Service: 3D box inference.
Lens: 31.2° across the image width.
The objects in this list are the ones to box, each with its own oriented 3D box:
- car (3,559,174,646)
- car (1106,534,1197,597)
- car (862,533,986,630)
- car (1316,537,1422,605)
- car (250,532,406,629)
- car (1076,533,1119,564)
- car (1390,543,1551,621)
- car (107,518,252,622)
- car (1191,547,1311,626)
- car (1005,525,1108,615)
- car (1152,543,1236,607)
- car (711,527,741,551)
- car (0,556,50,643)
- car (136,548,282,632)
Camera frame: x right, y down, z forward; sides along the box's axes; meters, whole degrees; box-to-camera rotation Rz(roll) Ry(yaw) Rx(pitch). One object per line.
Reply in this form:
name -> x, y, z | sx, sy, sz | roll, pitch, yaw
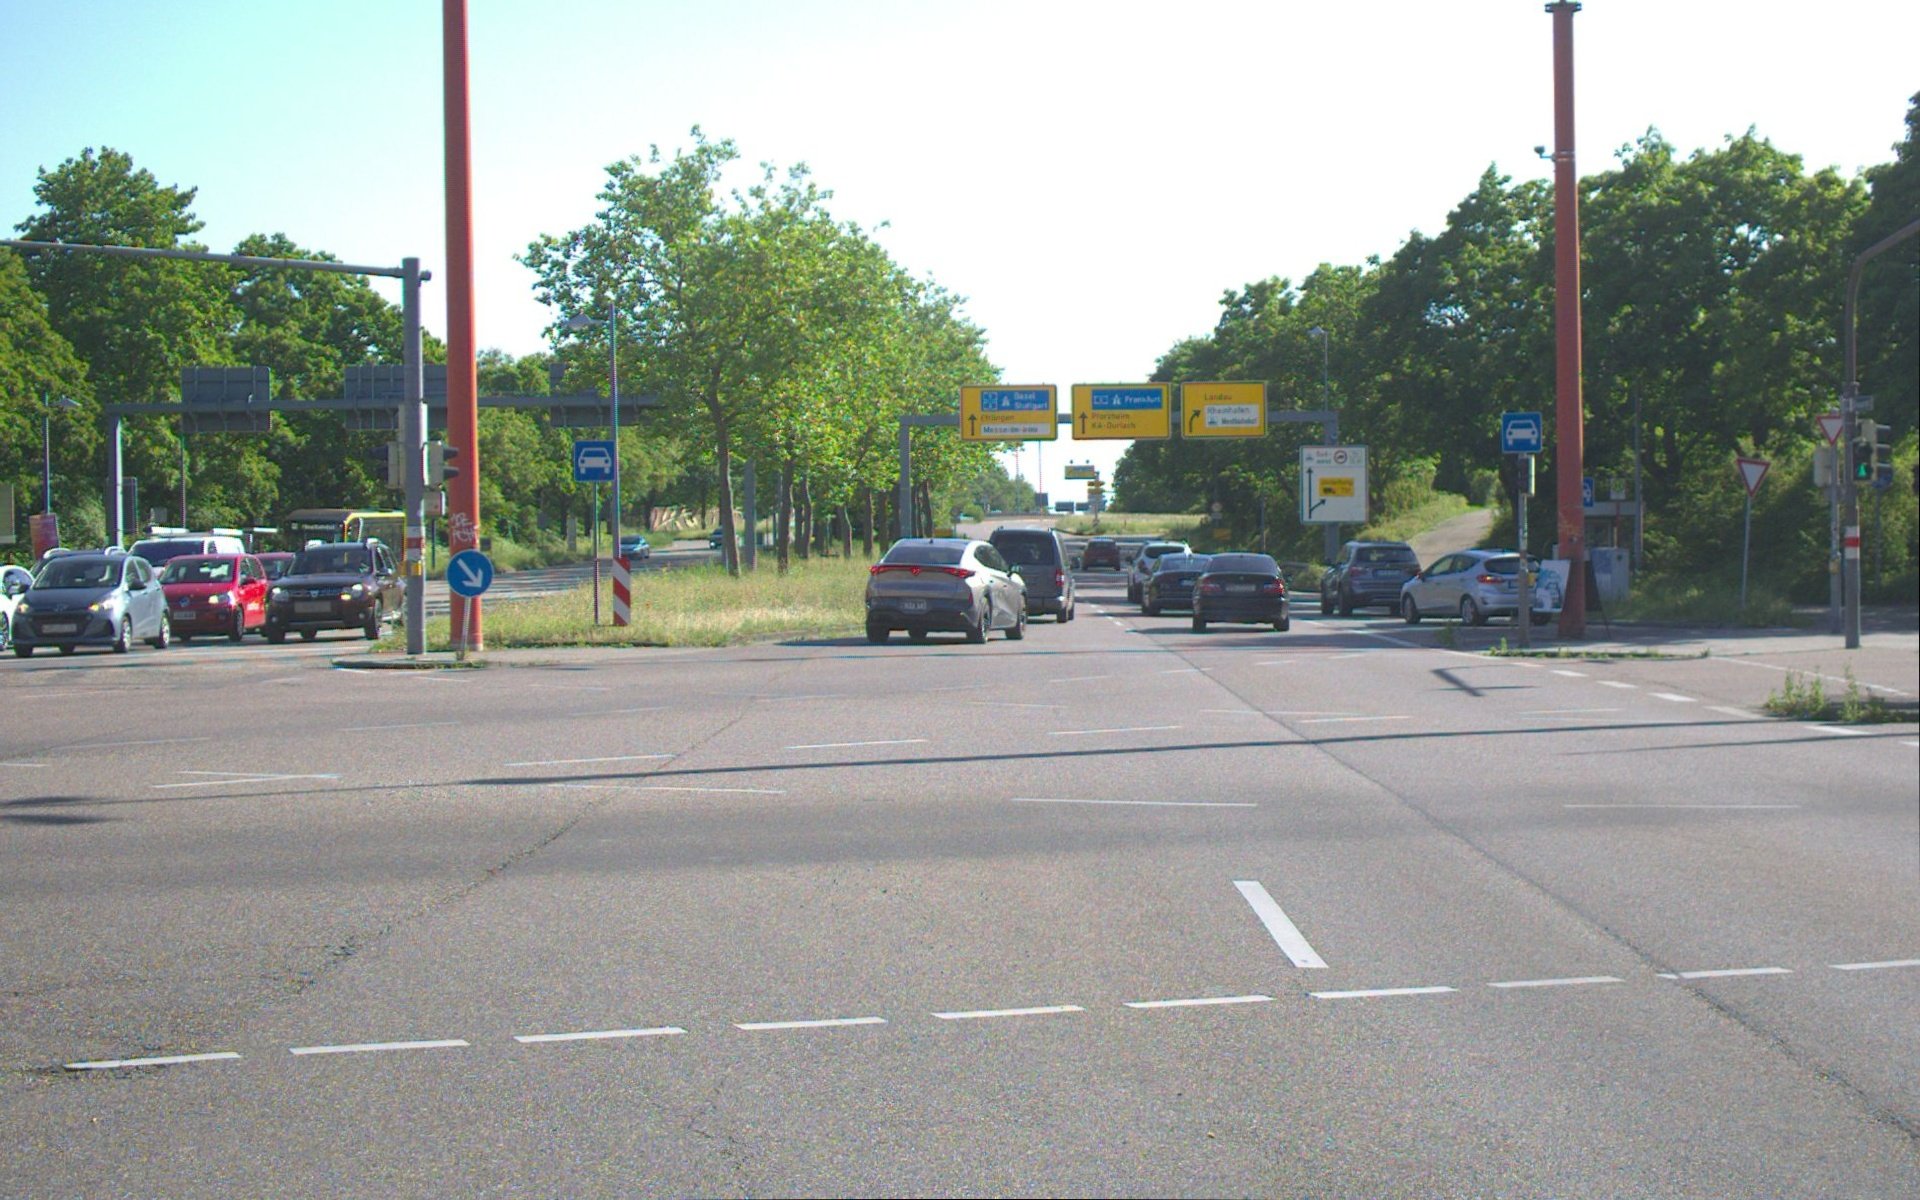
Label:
car -> -13.115, 0.013, 51.905 | 1.739, 1.239, 3.613 | -1, 1, -1
car -> 5.086, -0.935, 91.744 | 1.822, 1.630, 4.254 | -1, 1, -5
car -> -0.556, -0.311, 53.340 | 1.830, 1.417, 4.437 | -1, 1, -1
car -> 9.193, -0.679, 77.534 | 1.779, 1.480, 4.330 | -1, 1, -1
car -> -10.239, -0.344, 55.956 | 1.819, 1.503, 4.000 | -1, 1, -1
car -> 6.382, -2.391, 159.819 | 1.680, 1.430, 4.065 | -1, 1, -2
car -> 9.915, -0.378, 67.064 | 1.678, 1.462, 3.996 | -1, 1, -14
car -> -16.078, -0.608, 71.090 | 1.893, 2.019, 5.223 | 1, 0, -1
car -> 5.290, -0.264, 62.159 | 1.760, 1.345, 4.361 | 0, 1, 10
car -> 1.864, -0.606, 67.514 | 1.845, 1.702, 4.307 | -1, 1, -1
car -> 5.158, -0.577, 76.163 | 1.760, 1.345, 4.363 | -1, 1, 3
car -> -16.511, -4.318, 242.999 | 1.841, 1.661, 4.000 | 1, 1, -1
car -> -16.424, -0.019, 57.051 | 1.739, 1.406, 3.613 | -1, 1, -1
car -> -12.693, -0.192, 58.285 | 1.739, 1.357, 3.613 | -1, 1, -1
